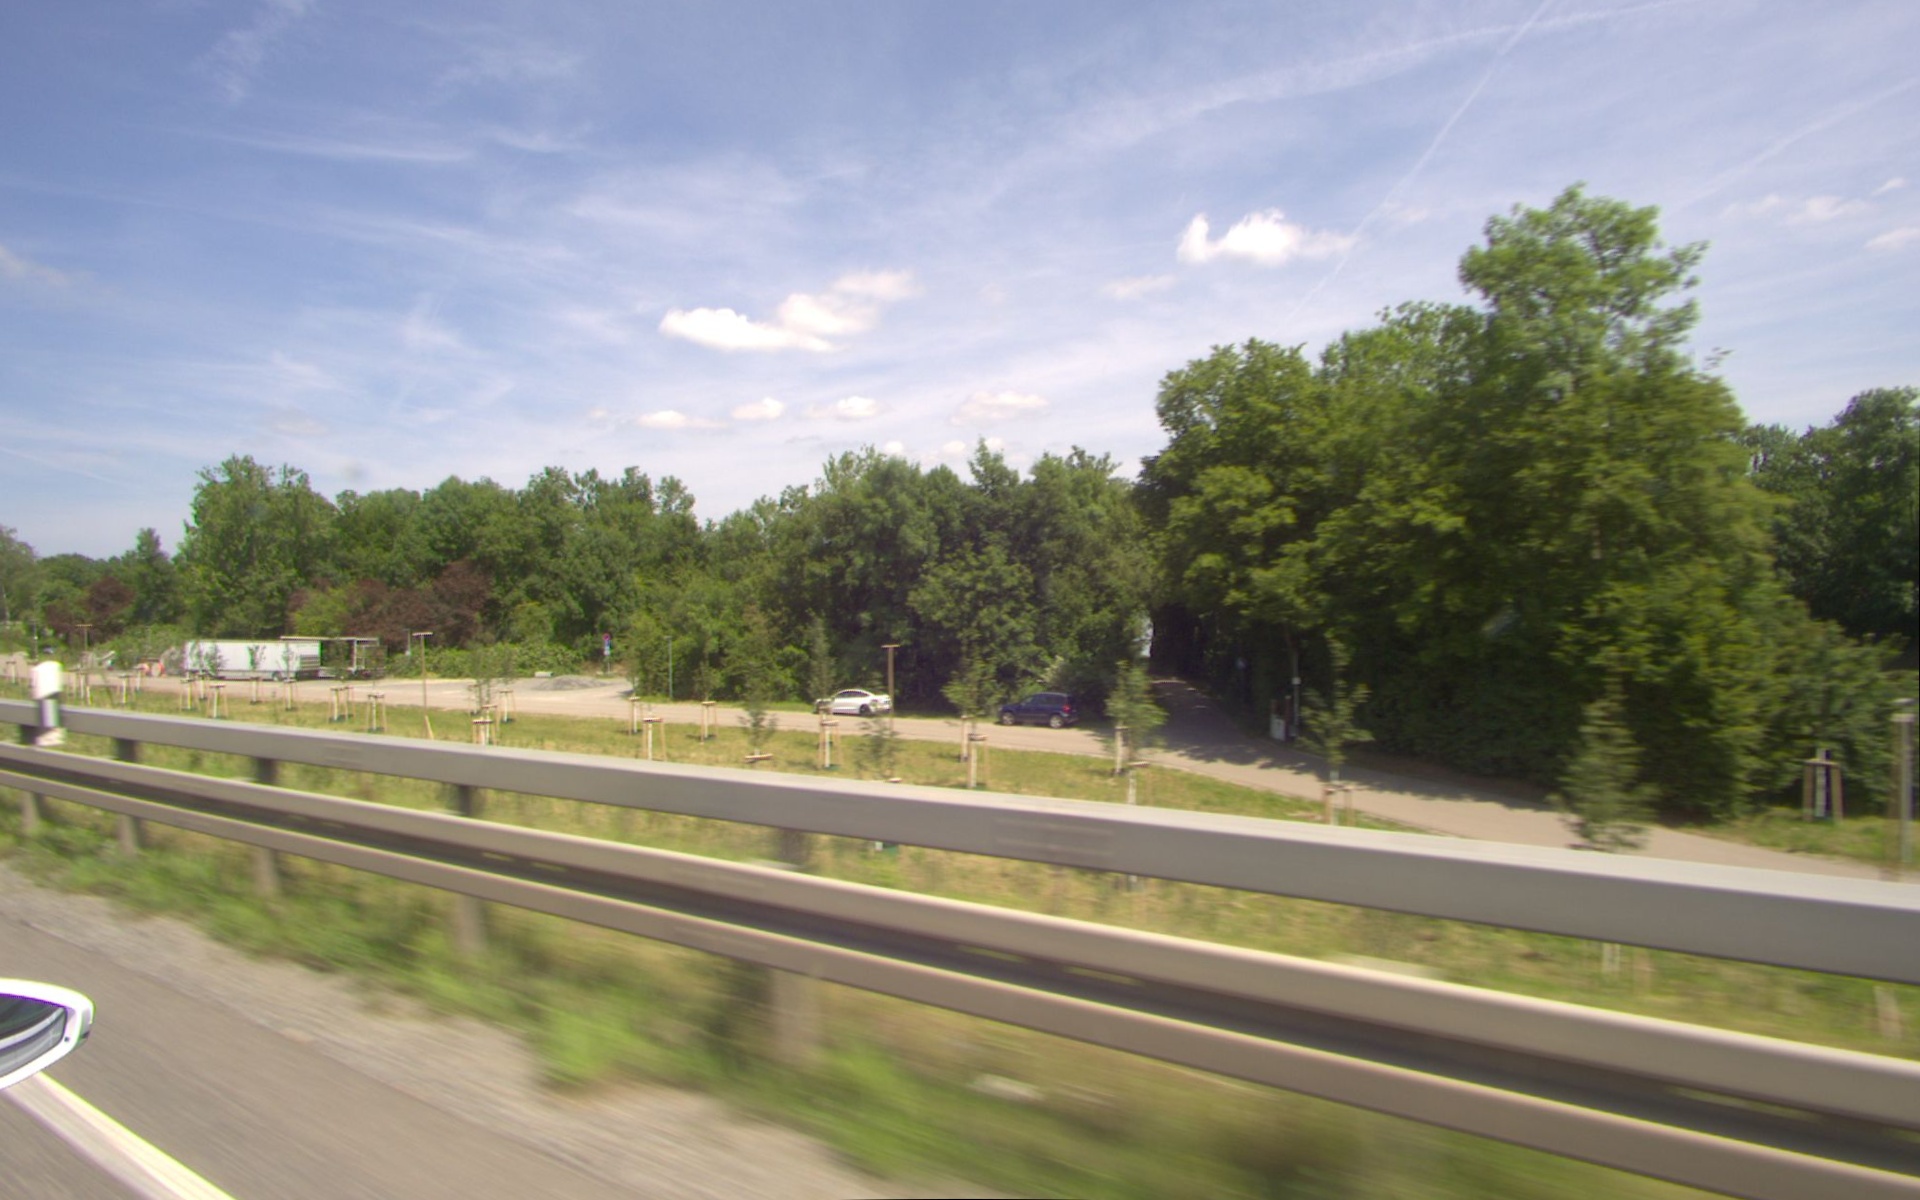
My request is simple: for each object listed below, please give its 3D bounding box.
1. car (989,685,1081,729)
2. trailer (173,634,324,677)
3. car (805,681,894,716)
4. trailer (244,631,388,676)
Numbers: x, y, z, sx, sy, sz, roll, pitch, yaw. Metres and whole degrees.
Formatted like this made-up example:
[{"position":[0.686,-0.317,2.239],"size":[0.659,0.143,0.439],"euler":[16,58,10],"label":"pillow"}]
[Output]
[{"position":[3.688,5.236,49.398],"size":[4.137,1.706,1.853],"euler":[0,3,31],"label":"car"},{"position":[-59.368,4.567,83.570],"size":[11.666,3.371,2.727],"euler":[0,-1,9],"label":"trailer"},{"position":[-6.044,5.370,54.785],"size":[4.536,1.503,1.855],"euler":[0,3,28],"label":"car"},{"position":[-55.291,4.565,85.966],"size":[11.668,3.652,2.727],"euler":[0,-1,11],"label":"trailer"}]
